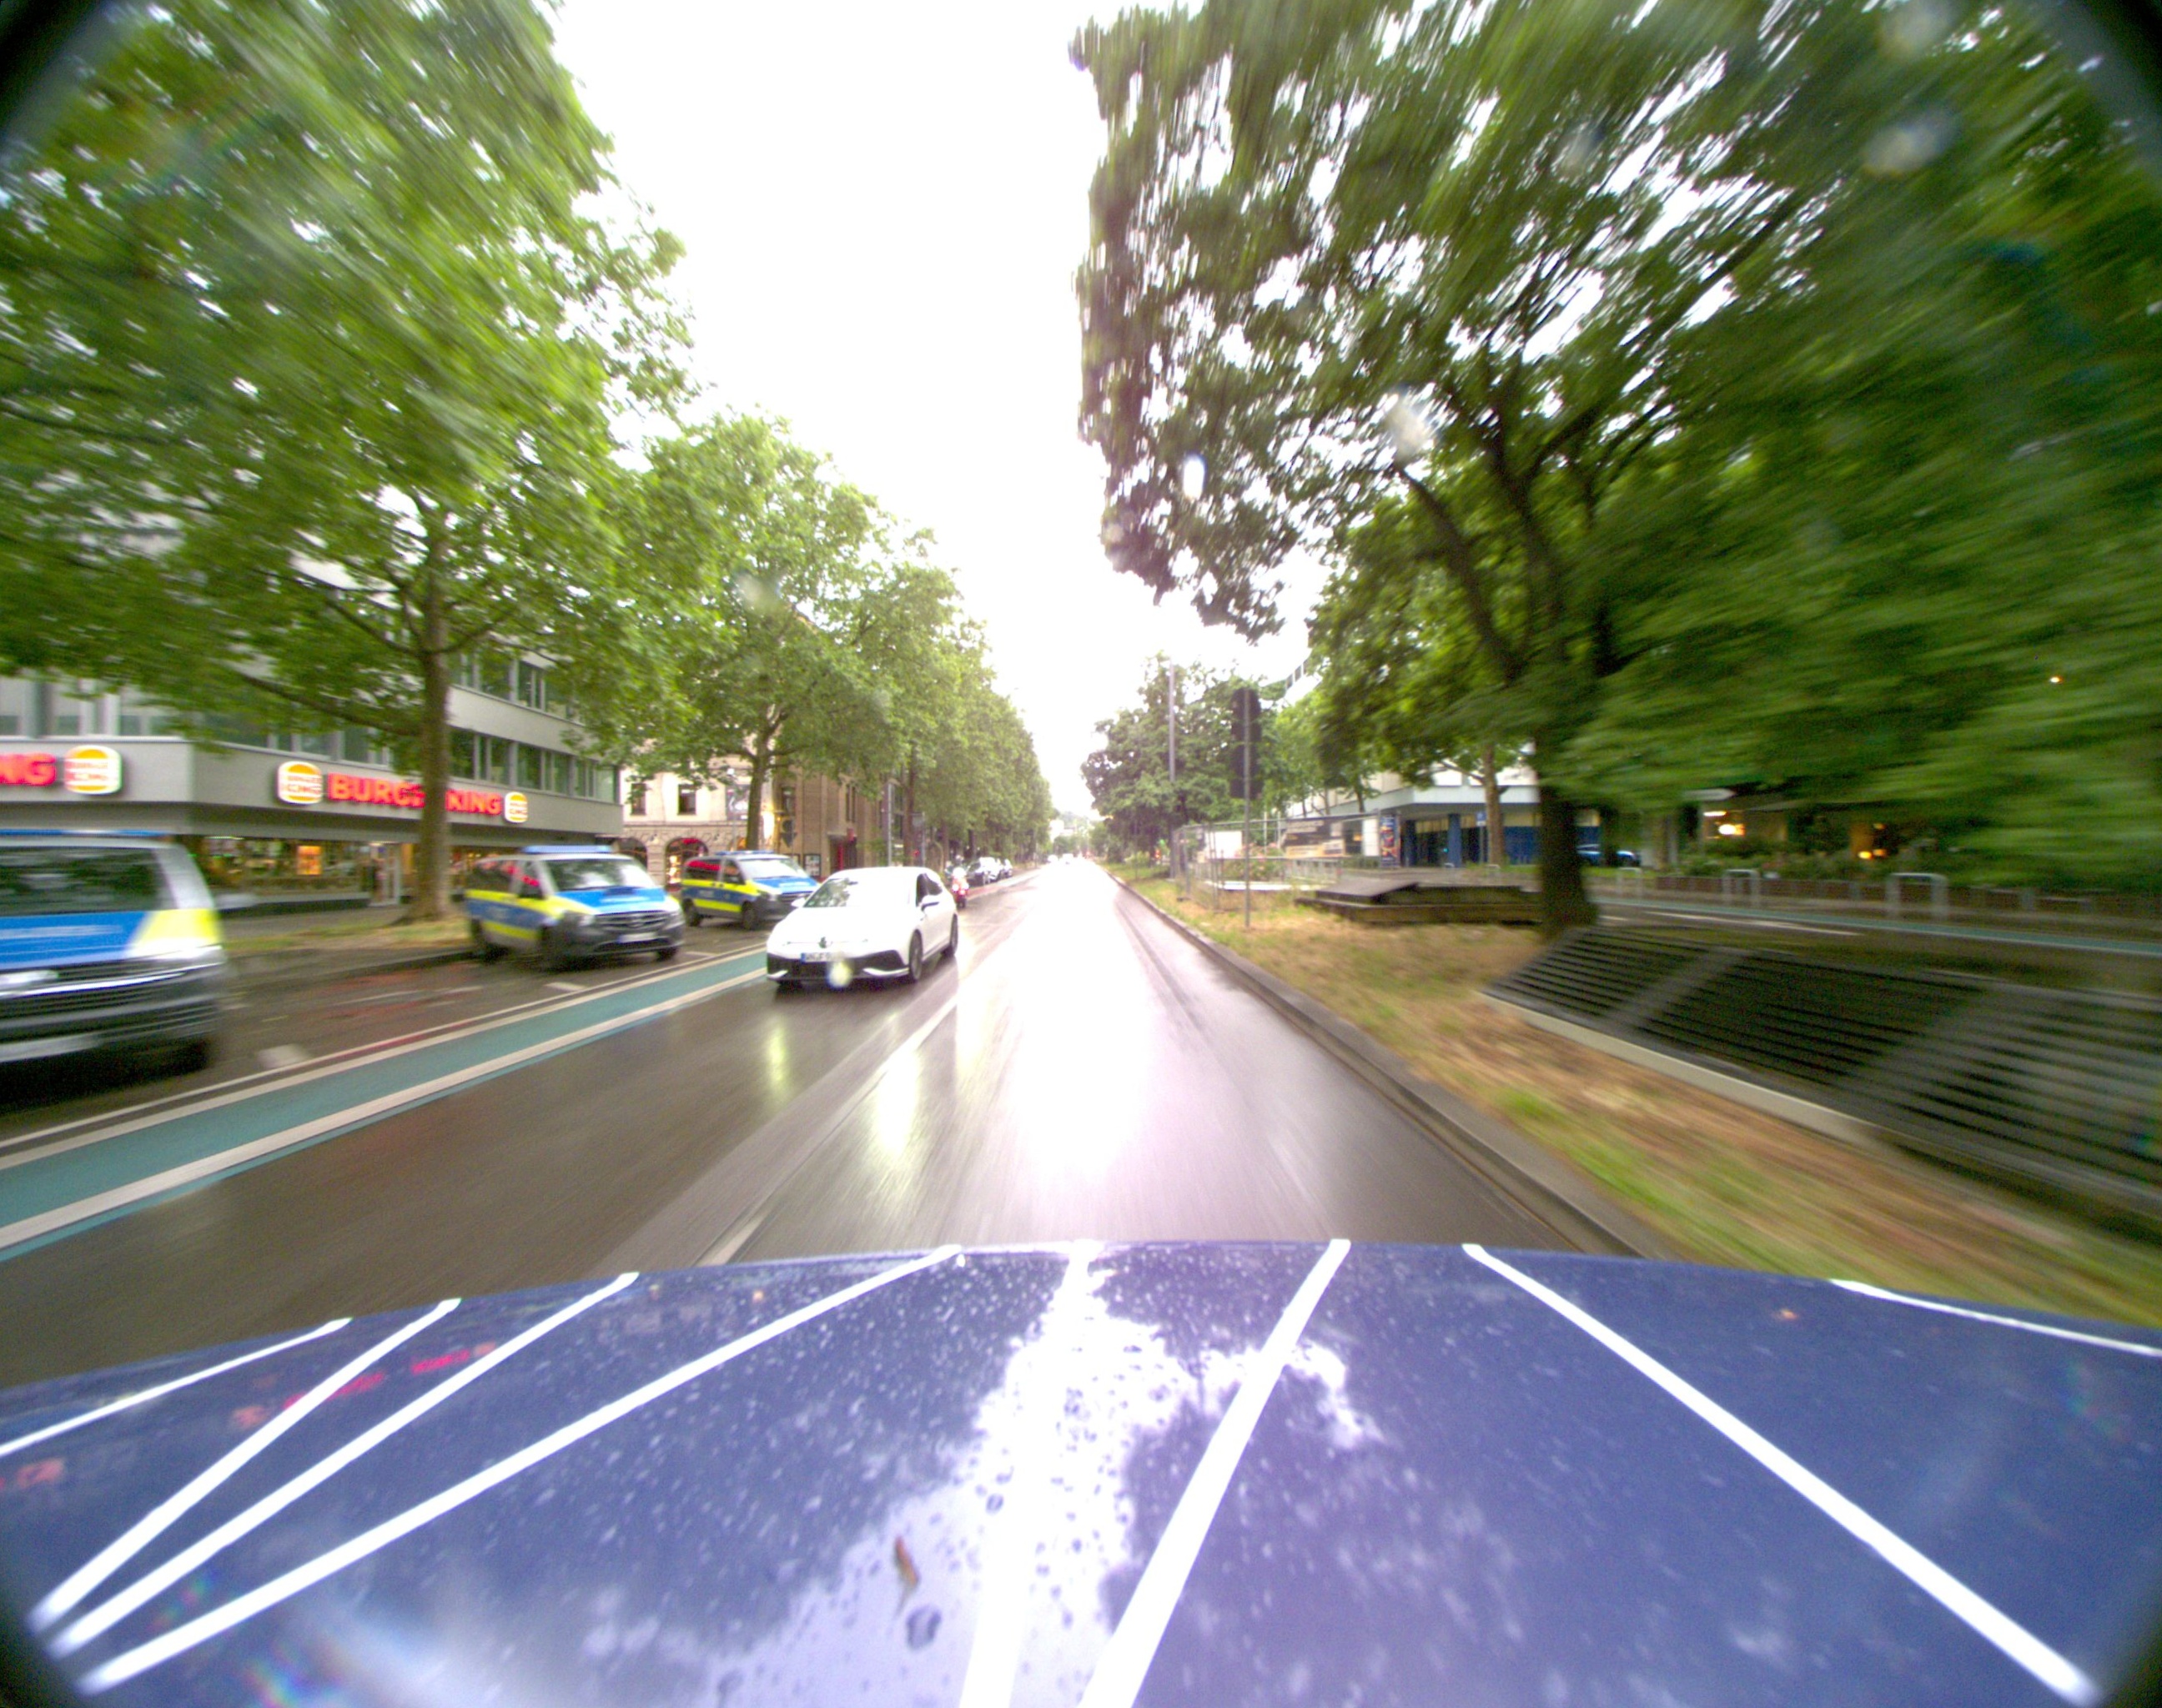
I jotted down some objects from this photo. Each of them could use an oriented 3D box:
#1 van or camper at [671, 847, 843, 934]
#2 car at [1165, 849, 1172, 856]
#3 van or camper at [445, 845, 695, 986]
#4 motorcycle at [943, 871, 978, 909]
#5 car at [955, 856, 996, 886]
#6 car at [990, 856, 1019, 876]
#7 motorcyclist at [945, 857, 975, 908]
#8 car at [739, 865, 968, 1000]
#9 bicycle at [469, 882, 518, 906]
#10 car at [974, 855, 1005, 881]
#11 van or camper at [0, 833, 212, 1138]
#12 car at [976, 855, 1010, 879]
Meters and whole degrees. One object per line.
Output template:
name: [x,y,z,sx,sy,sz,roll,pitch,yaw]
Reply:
van or camper: [-8.598,0.892,19.973,4.933,1.980,2.006,-1,1,39]
car: [16.720,-0.272,145.700,1.163,1.454,3.561,0,0,3]
van or camper: [-9.043,0.943,13.266,5.074,2.007,2.001,-2,0,37]
motorcycle: [-4.023,1.167,25.235,0.869,1.136,2.019,-1,0,-17]
car: [-6.255,0.964,45.409,1.797,1.593,4.423,-2,0,-1]
car: [-6.092,0.949,61.082,1.747,1.424,4.585,-2,0,1]
motorcyclist: [-4.023,0.917,25.219,0.850,1.635,0.870,-2,1,-18]
car: [-2.960,0.933,11.013,1.866,1.436,4.509,-1,0,1]
bicycle: [-23.154,1.554,29.980,0.643,0.814,1.912,-1,0,-8]
car: [-6.037,0.891,50.464,1.756,1.576,4.408,-2,0,-4]
van or camper: [-8.986,0.888,6.361,4.841,1.986,1.871,-1,1,37]
car: [-6.363,0.916,55.514,1.999,1.580,4.559,-2,0,-2]
